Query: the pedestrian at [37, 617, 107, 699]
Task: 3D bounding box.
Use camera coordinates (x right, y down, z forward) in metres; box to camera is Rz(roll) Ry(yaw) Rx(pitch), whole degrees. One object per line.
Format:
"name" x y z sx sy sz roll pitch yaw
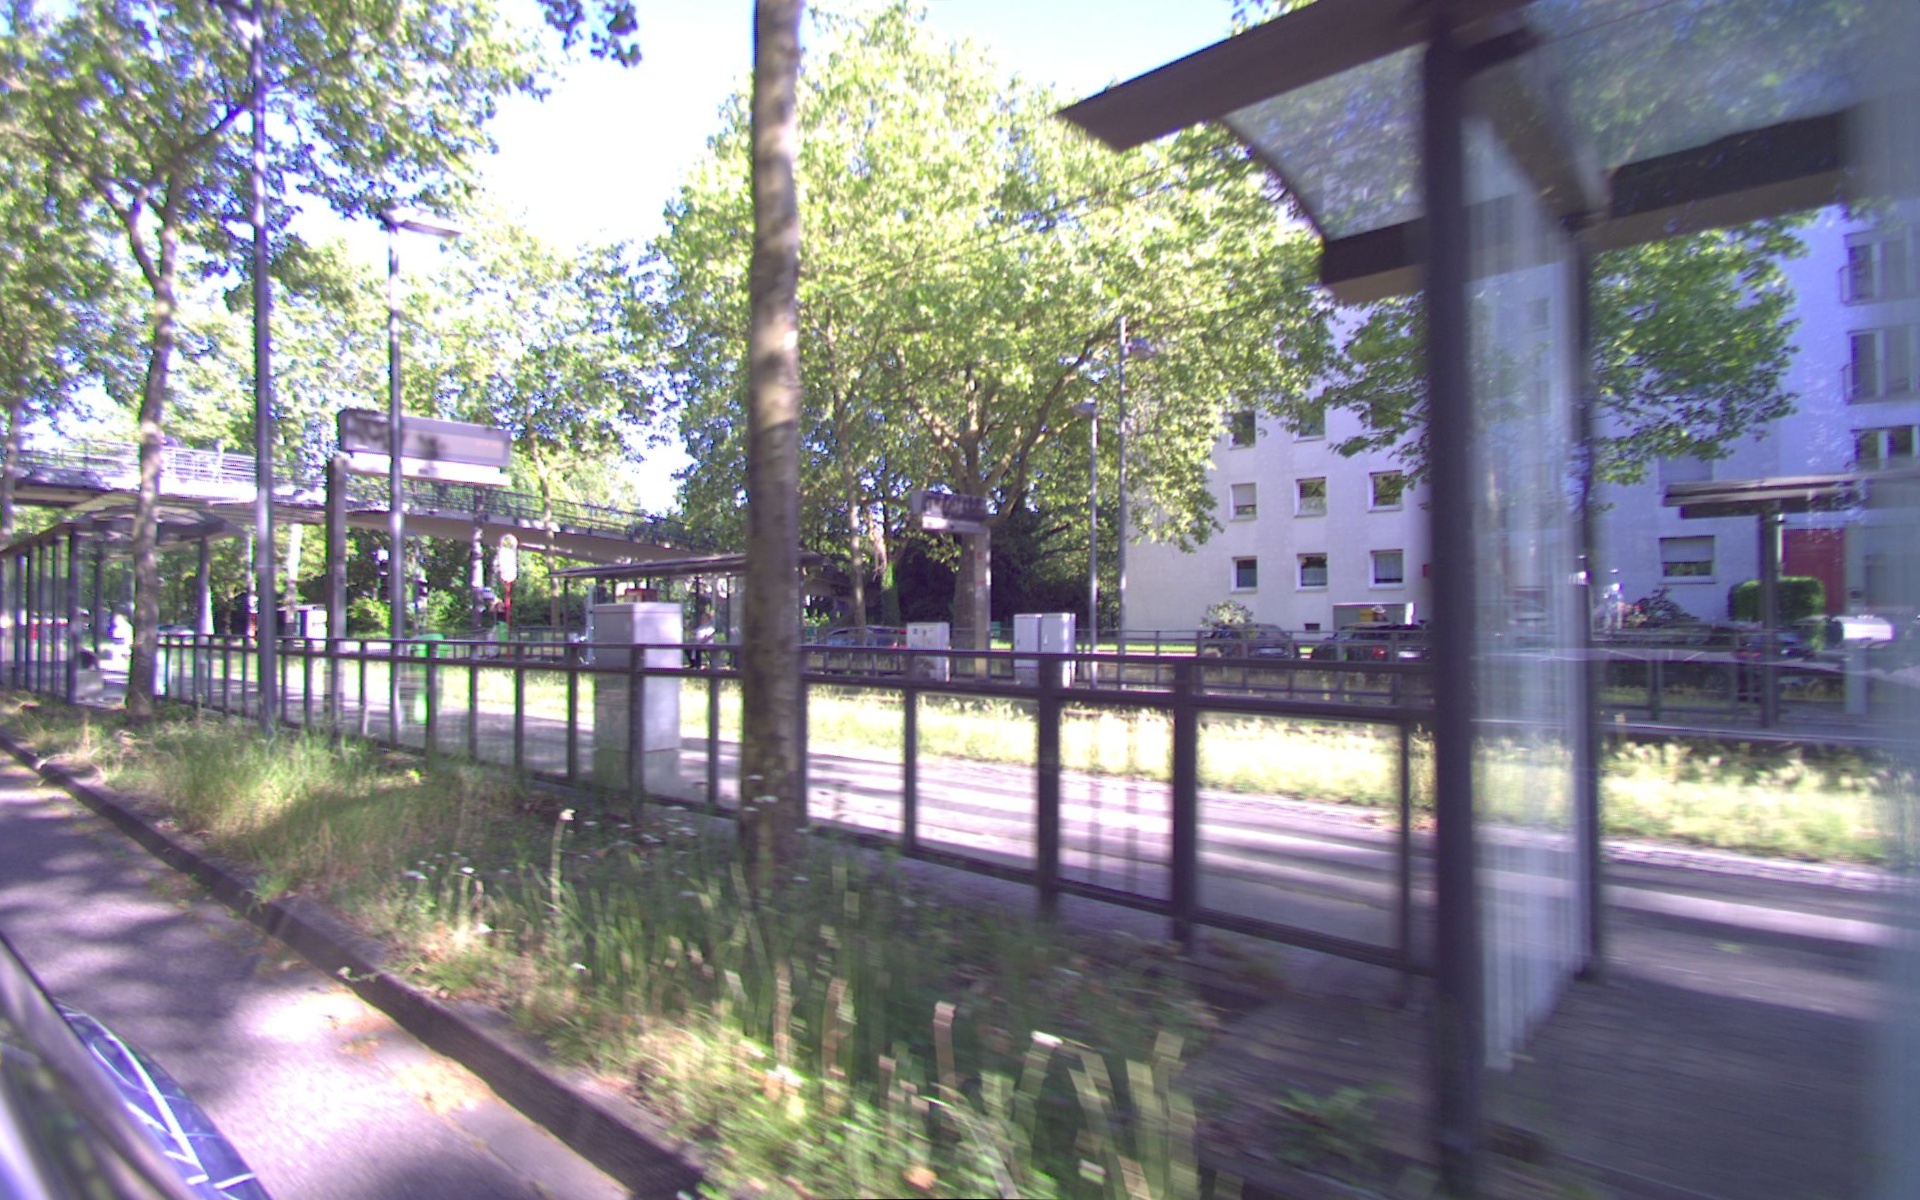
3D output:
"pedestrian" -14.273 0.916 16.275 0.586 1.261 0.727 -1 0 35

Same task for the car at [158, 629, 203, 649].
"car" -63.412 3.156 82.310 4.623 1.499 1.879 -1 2 40

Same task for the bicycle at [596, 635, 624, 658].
"bicycle" -16.137 2.151 46.671 1.685 1.016 0.429 -2 -1 41

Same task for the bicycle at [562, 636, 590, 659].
"bicycle" -17.417 2.168 45.897 1.685 1.016 0.429 -2 -1 41

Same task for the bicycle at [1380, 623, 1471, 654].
"bicycle" 15.268 1.280 33.232 2.591 0.935 0.688 -3 -2 38

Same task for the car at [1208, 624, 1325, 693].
"car" 7.424 1.361 24.914 1.677 1.439 4.197 -2 -1 2

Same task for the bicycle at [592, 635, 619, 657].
"bicycle" -16.733 2.165 47.722 1.685 1.016 0.429 -2 -1 41

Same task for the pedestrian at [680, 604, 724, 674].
"pedestrian" -6.190 0.934 24.286 0.714 1.647 0.722 -1 -3 38

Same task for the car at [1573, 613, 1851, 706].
"car" 14.243 1.052 19.592 1.873 1.509 4.501 -2 -1 -1

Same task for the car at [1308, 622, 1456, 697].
"car" 9.478 1.275 23.108 1.677 1.439 4.197 -2 -1 2

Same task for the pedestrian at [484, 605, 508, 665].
"pedestrian" -13.931 1.034 30.368 0.477 1.784 0.503 -1 0 0

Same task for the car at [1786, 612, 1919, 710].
"car" 16.582 1.001 16.810 1.873 1.509 4.501 -2 -1 -1

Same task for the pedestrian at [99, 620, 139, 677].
"pedestrian" -25.392 1.448 30.553 1.047 1.687 0.718 -1 -1 37

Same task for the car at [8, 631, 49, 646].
"car" -109.557 4.521 119.084 1.857 1.579 4.011 -1 0 -15

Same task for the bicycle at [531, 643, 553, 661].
"bicycle" -18.626 2.305 45.066 1.173 0.784 0.429 -2 -1 41

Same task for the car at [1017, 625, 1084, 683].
"car" 2.571 1.511 29.605 1.677 1.439 4.197 -2 -1 2

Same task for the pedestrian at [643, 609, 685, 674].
"pedestrian" -7.002 0.981 23.978 0.681 1.525 0.638 -1 -3 28

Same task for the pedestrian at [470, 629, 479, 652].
"pedestrian" -32.081 2.647 66.904 0.526 1.502 0.589 -1 0 -25
